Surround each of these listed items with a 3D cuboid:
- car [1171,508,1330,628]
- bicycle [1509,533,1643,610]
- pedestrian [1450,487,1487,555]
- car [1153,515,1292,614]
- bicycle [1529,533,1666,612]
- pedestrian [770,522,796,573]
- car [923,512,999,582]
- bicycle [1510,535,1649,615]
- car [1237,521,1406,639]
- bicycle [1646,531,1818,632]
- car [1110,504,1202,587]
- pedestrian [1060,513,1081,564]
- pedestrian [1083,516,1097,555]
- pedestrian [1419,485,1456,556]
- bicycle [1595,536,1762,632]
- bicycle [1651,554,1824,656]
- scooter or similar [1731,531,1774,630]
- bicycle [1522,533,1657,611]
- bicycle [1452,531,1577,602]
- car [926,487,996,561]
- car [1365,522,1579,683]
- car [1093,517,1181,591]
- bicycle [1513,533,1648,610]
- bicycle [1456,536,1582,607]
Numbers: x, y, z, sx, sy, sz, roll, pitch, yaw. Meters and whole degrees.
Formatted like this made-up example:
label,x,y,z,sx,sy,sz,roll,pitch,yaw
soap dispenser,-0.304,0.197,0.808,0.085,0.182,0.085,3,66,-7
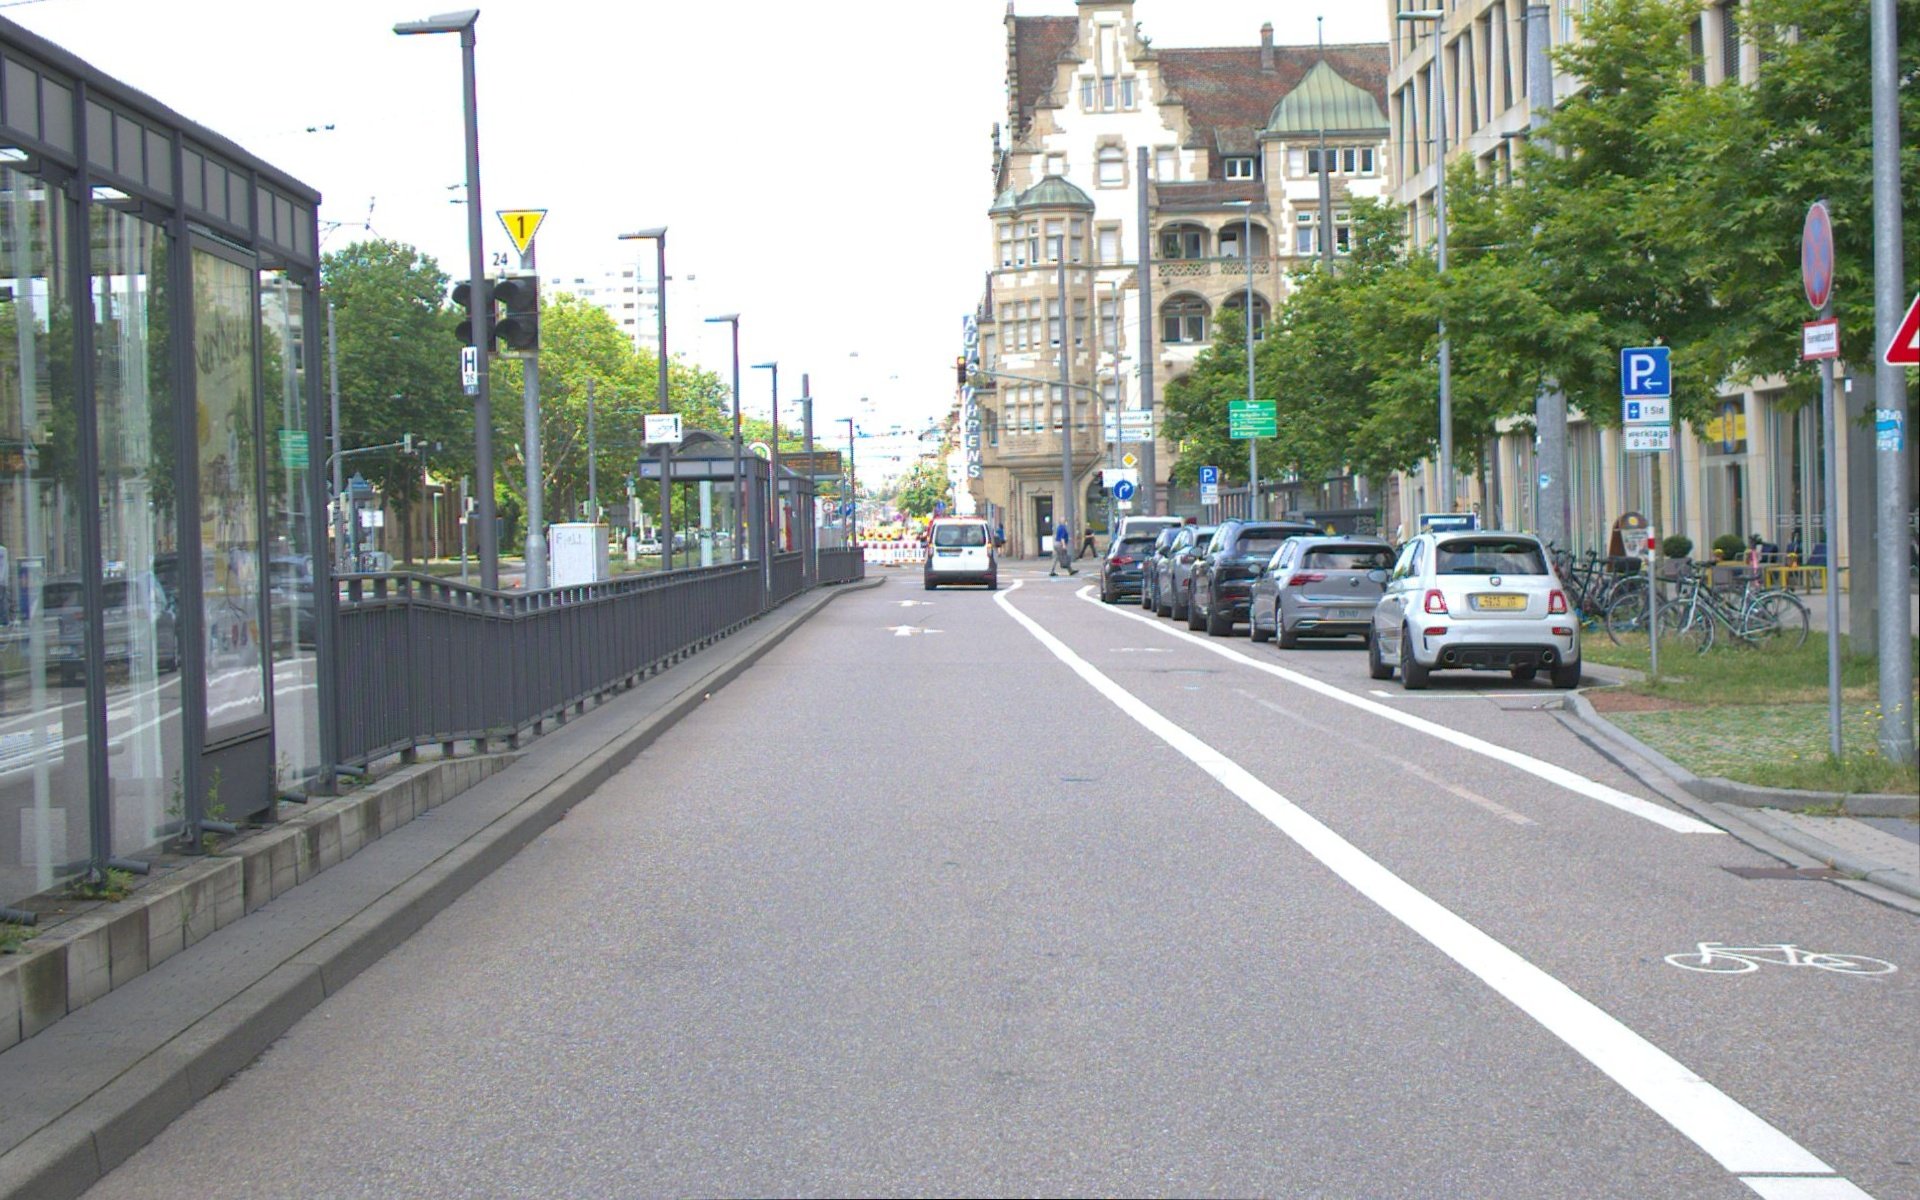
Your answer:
label,x,y,z,sx,sy,sz,roll,pitch,yaw
car,4.224,-0.511,50.629,1.738,1.663,4.841,0,2,-2
bicycle,8.488,-0.394,47.412,1.752,0.983,0.326,-2,1,-1
pedestrian,12.502,-1.945,84.521,0.760,1.664,0.659,-2,1,-1
car,4.417,-0.646,58.527,1.807,1.586,4.841,0,2,-2
bicycle,8.589,-0.373,46.362,1.752,0.983,0.326,-2,1,-1
pedestrian,-4.082,-1.215,79.466,0.513,1.136,0.501,-3,1,0
car,0.001,-1.369,87.904,1.868,1.740,4.000,0,1,-1
bicycle,8.217,-0.334,45.591,1.752,0.983,0.326,-2,1,-1
car,4.642,-0.292,44.612,1.591,1.429,4.108,0,2,-2
bicycle,8.574,-0.209,38.200,1.824,1.072,0.275,-2,1,4
car,4.333,-1.241,76.375,1.709,1.790,3.362,0,2,-2
pedestrian,3.467,-1.940,107.968,0.534,1.566,0.542,-3,1,-2
pedestrian,5.480,-2.736,145.230,0.486,1.604,0.362,-3,1,-1
pedestrian,11.743,-1.946,84.510,0.760,1.717,0.659,-2,1,-1
bicycle,8.463,-0.196,40.561,1.824,1.072,0.686,-2,1,4
bicycle,8.567,0.057,37.903,1.824,1.072,0.275,-2,1,4
scooter or similar,9.821,-0.249,42.612,0.258,1.211,1.015,-2,1,-1
bicycle,8.549,-0.380,46.704,1.752,0.983,0.326,-2,1,-1
bicycle,8.543,-0.522,53.016,1.824,1.027,0.584,-2,1,3
car,0.013,-2.139,96.322,1.868,2.013,4.000,0,1,-1
car,4.944,-0.017,33.592,1.591,1.455,3.613,0,2,1
car,3.648,-0.982,71.388,1.443,1.465,4.093,0,2,-2
bicycle,8.495,-0.386,47.063,1.752,0.983,0.326,-2,1,-1
bicycle,8.493,-0.437,52.255,1.824,1.027,0.432,-2,1,3
